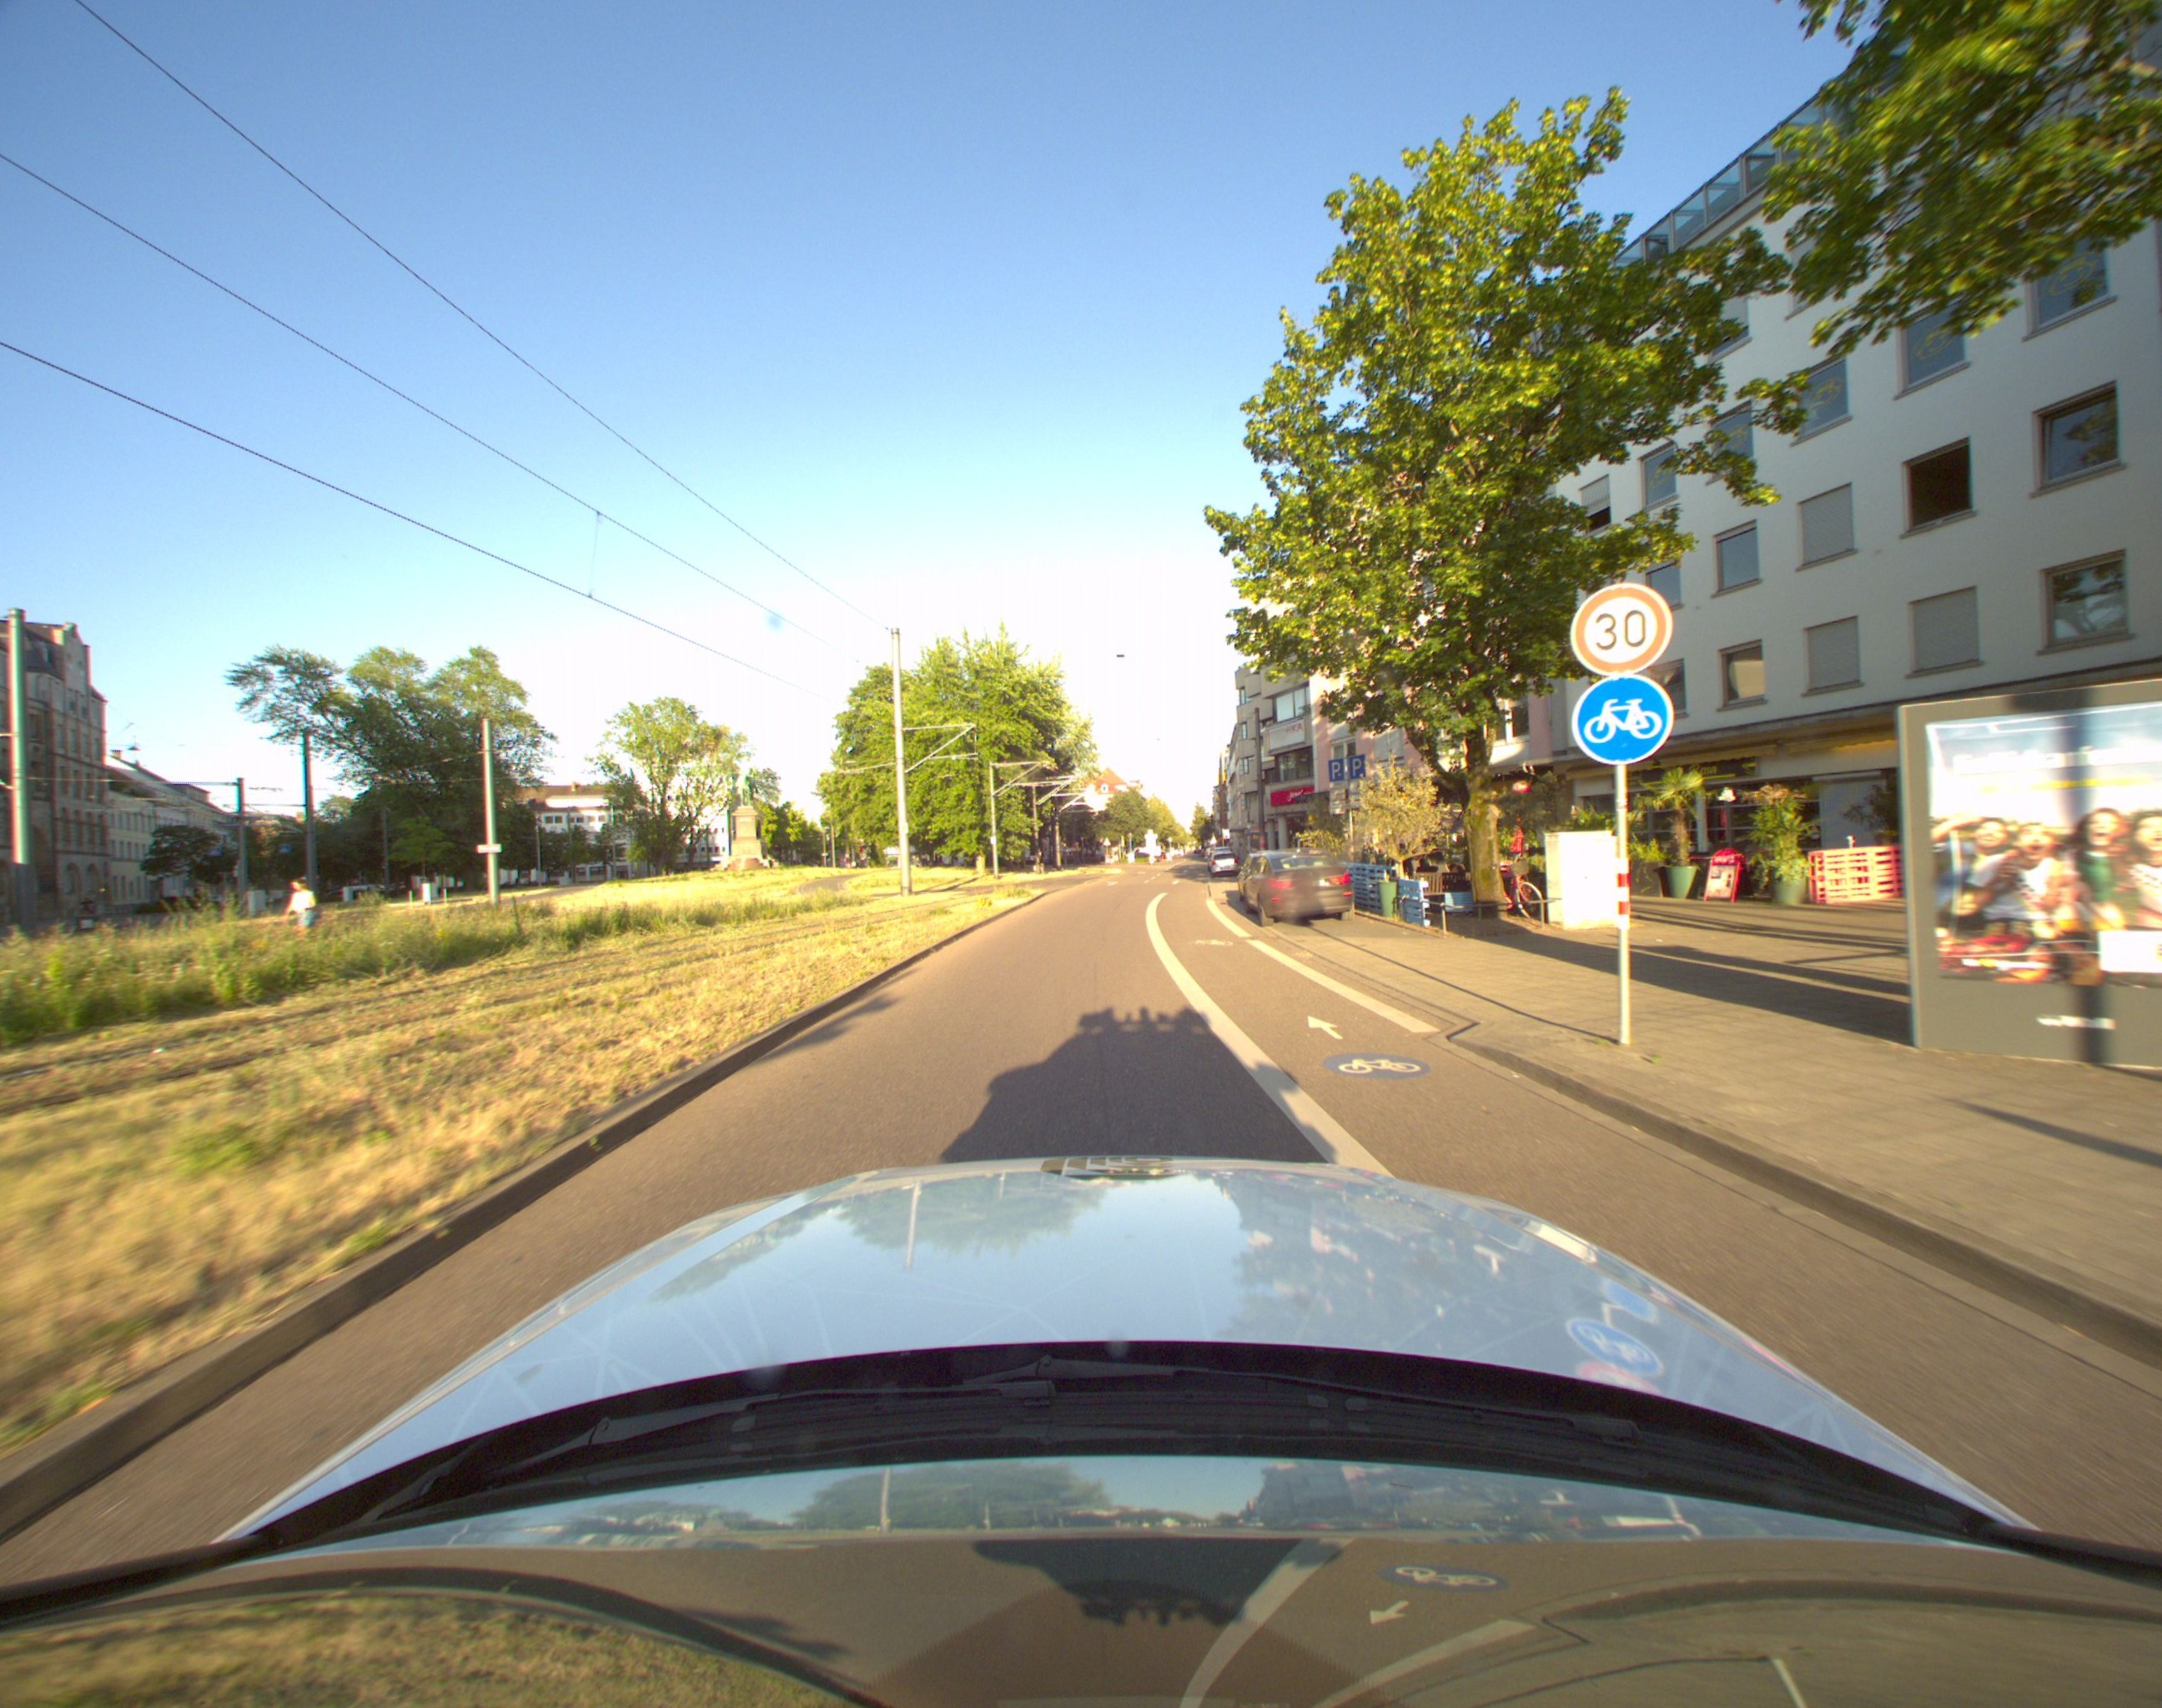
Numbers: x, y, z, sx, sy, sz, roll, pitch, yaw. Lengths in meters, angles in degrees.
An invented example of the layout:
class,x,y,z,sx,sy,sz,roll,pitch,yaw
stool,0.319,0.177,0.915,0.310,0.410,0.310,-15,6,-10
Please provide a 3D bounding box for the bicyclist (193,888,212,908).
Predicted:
class,x,y,z,sx,sy,sz,roll,pitch,yaw
bicyclist,-77.240,3.854,71.629,0.958,1.690,0.888,-2,0,-39

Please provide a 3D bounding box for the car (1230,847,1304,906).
class,x,y,z,sx,sy,sz,roll,pitch,yaw
car,5.264,0.577,23.468,1.642,1.534,4.074,-1,0,7

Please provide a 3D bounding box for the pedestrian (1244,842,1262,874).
class,x,y,z,sx,sy,sz,roll,pitch,yaw
pedestrian,9.819,0.223,46.592,0.640,1.786,0.852,-2,0,-15

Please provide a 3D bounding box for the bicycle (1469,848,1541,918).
class,x,y,z,sx,sy,sz,roll,pitch,yaw
bicycle,7.898,0.498,15.258,0.444,1.210,2.086,-1,0,7

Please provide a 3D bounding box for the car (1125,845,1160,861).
class,x,y,z,sx,sy,sz,roll,pitch,yaw
car,9.040,-0.122,119.578,4.612,2.251,2.189,-1,0,-19

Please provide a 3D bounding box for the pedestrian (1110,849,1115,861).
class,x,y,z,sx,sy,sz,roll,pitch,yaw
pedestrian,4.073,0.118,105.671,0.695,1.559,0.695,-1,0,0

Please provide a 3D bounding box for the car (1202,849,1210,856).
class,x,y,z,sx,sy,sz,roll,pitch,yaw
car,29.402,-0.365,191.799,1.569,1.542,3.402,-4,-1,5

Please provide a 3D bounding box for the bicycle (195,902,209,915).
class,x,y,z,sx,sy,sz,roll,pitch,yaw
bicycle,-76.999,4.809,71.371,0.474,1.011,2.176,-2,0,-38

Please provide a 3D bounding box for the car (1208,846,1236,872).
class,x,y,z,sx,sy,sz,roll,pitch,yaw
car,9.275,0.305,53.852,1.576,1.590,3.675,-1,0,7

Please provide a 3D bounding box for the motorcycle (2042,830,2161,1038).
class,x,y,z,sx,sy,sz,roll,pitch,yaw
motorcycle,7.350,0.516,4.820,0.639,1.344,2.200,-1,0,-3

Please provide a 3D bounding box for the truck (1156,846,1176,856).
class,x,y,z,sx,sy,sz,roll,pitch,yaw
truck,22.471,-0.826,215.468,4.914,2.615,2.004,-2,-1,7

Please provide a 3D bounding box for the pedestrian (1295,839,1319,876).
class,x,y,z,sx,sy,sz,roll,pitch,yaw
pedestrian,10.153,0.159,36.637,0.640,1.627,0.852,-2,0,-15

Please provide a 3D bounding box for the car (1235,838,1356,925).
class,x,y,z,sx,sy,sz,roll,pitch,yaw
car,4.647,0.518,18.344,1.796,1.670,4.820,-1,0,5

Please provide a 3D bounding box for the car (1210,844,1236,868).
class,x,y,z,sx,sy,sz,roll,pitch,yaw
car,11.238,0.109,64.801,1.774,1.804,4.410,-1,0,7

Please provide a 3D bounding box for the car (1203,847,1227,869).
class,x,y,z,sx,sy,sz,roll,pitch,yaw
car,9.801,0.259,59.754,1.631,1.528,4.010,-1,0,9

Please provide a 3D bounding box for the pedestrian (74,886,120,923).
class,x,y,z,sx,sy,sz,roll,pitch,yaw
pedestrian,-60.913,3.104,50.426,1.059,2.094,1.624,-2,0,-18

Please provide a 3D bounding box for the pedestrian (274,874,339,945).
class,x,y,z,sx,sy,sz,roll,pitch,yaw
pedestrian,-16.473,1.165,17.338,0.667,1.459,0.700,-1,0,4

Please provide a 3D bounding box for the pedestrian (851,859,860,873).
class,x,y,z,sx,sy,sz,roll,pitch,yaw
pedestrian,-31.850,1.674,114.986,0.856,1.839,0.999,-1,2,8

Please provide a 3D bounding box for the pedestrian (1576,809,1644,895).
class,x,y,z,sx,sy,sz,roll,pitch,yaw
pedestrian,11.137,-0.051,17.158,0.895,1.726,0.768,-3,1,-23

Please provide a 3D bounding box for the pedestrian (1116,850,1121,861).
class,x,y,z,sx,sy,sz,roll,pitch,yaw
pedestrian,4.873,0.176,105.784,0.560,1.364,0.614,-1,0,1

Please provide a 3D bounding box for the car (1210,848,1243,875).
class,x,y,z,sx,sy,sz,roll,pitch,yaw
car,8.629,0.423,48.401,1.774,1.456,4.011,-3,0,10

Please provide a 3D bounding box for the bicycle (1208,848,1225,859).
class,x,y,z,sx,sy,sz,roll,pitch,yaw
bicycle,14.862,-0.030,89.352,1.770,0.990,0.545,-5,1,31

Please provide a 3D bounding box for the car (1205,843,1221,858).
class,x,y,z,sx,sy,sz,roll,pitch,yaw
car,16.417,-0.428,101.256,1.782,1.792,4.101,-2,0,8
